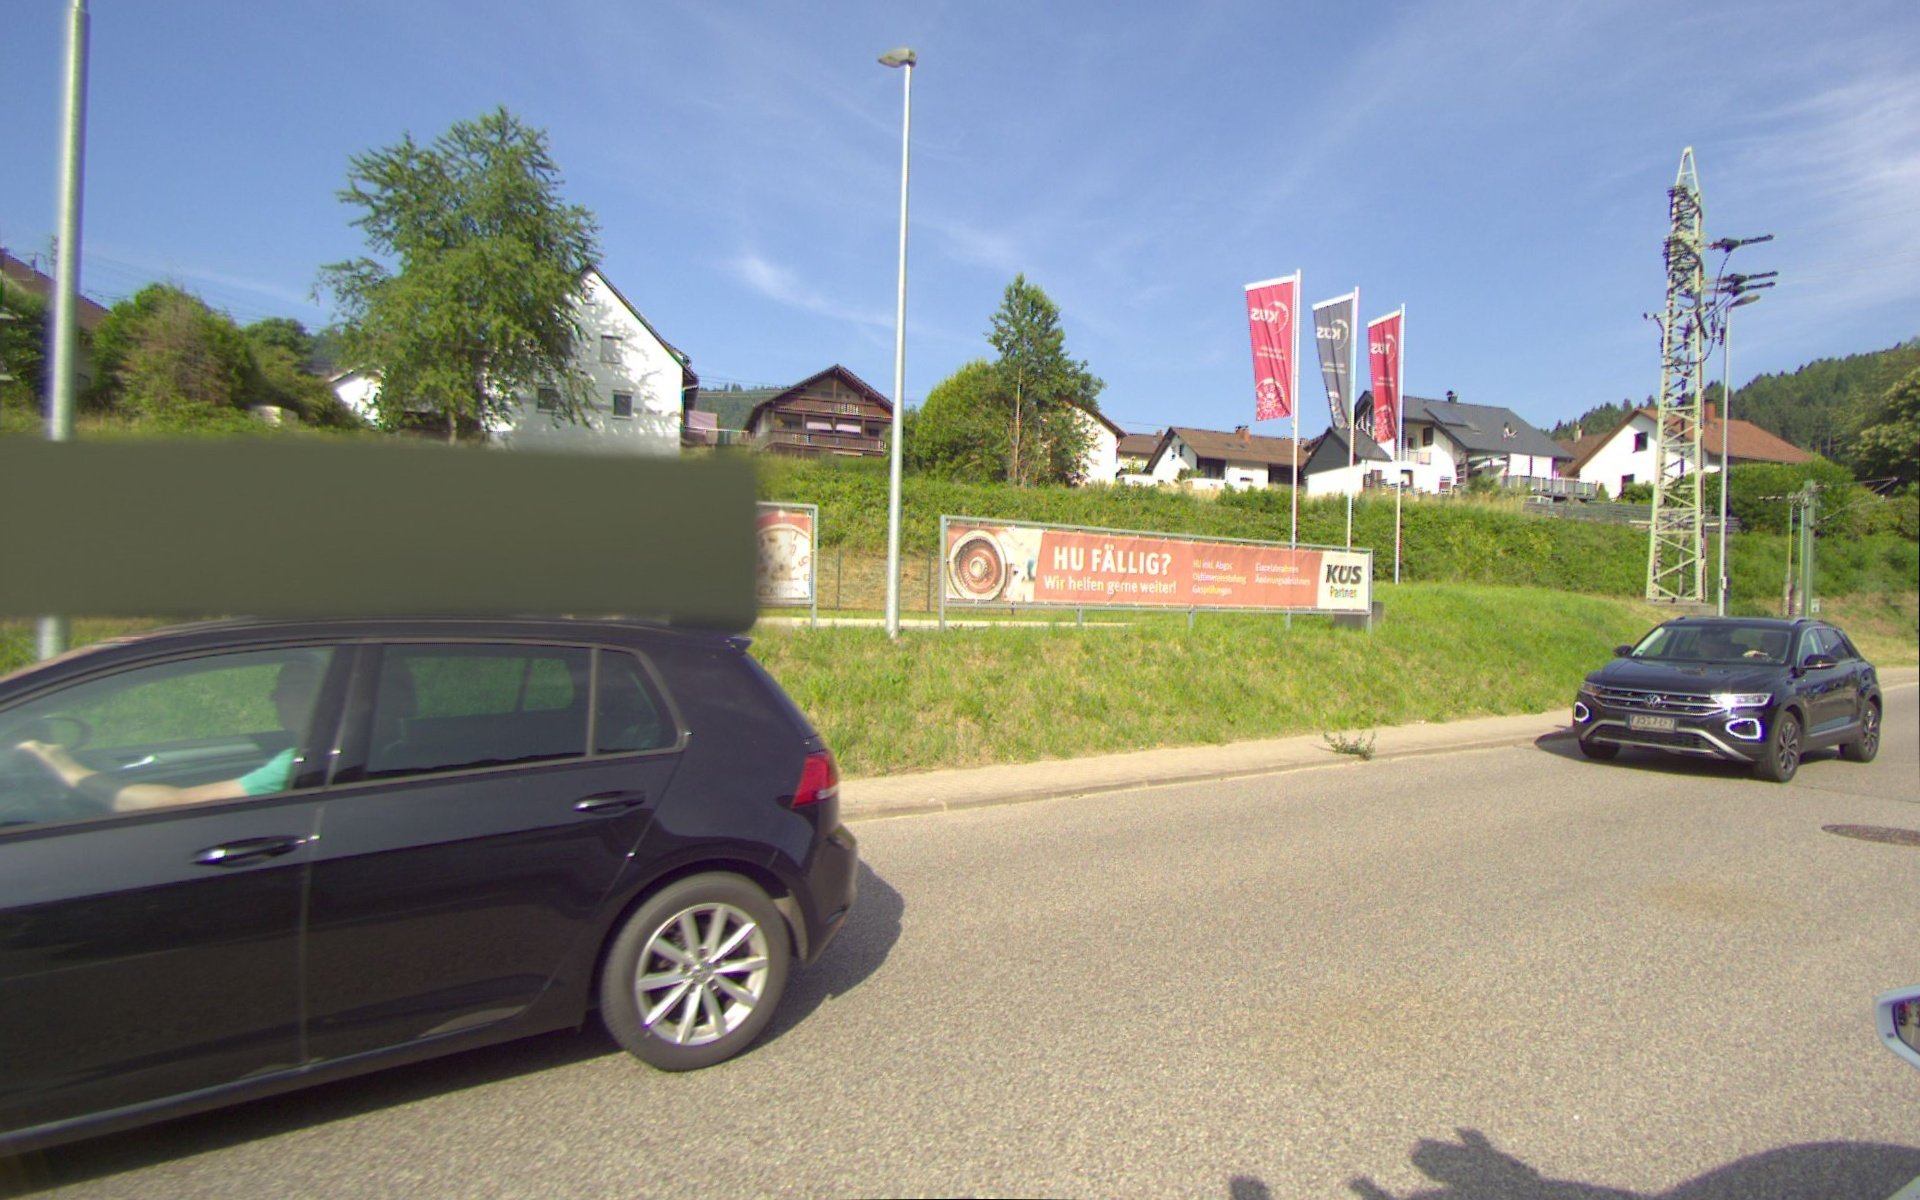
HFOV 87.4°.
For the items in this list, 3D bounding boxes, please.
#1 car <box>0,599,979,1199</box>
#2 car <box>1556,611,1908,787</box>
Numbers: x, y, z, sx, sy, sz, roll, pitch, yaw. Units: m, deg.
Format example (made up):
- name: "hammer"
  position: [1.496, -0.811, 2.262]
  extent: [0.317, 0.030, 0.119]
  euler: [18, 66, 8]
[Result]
- name: "car"
  position: [-2.169, 0.732, 3.244]
  extent: [4.228, 1.426, 1.764]
  euler: [2, -1, -34]
- name: "car"
  position: [8.385, 0.915, 10.805]
  extent: [4.228, 1.536, 1.764]
  euler: [1, 0, -34]
